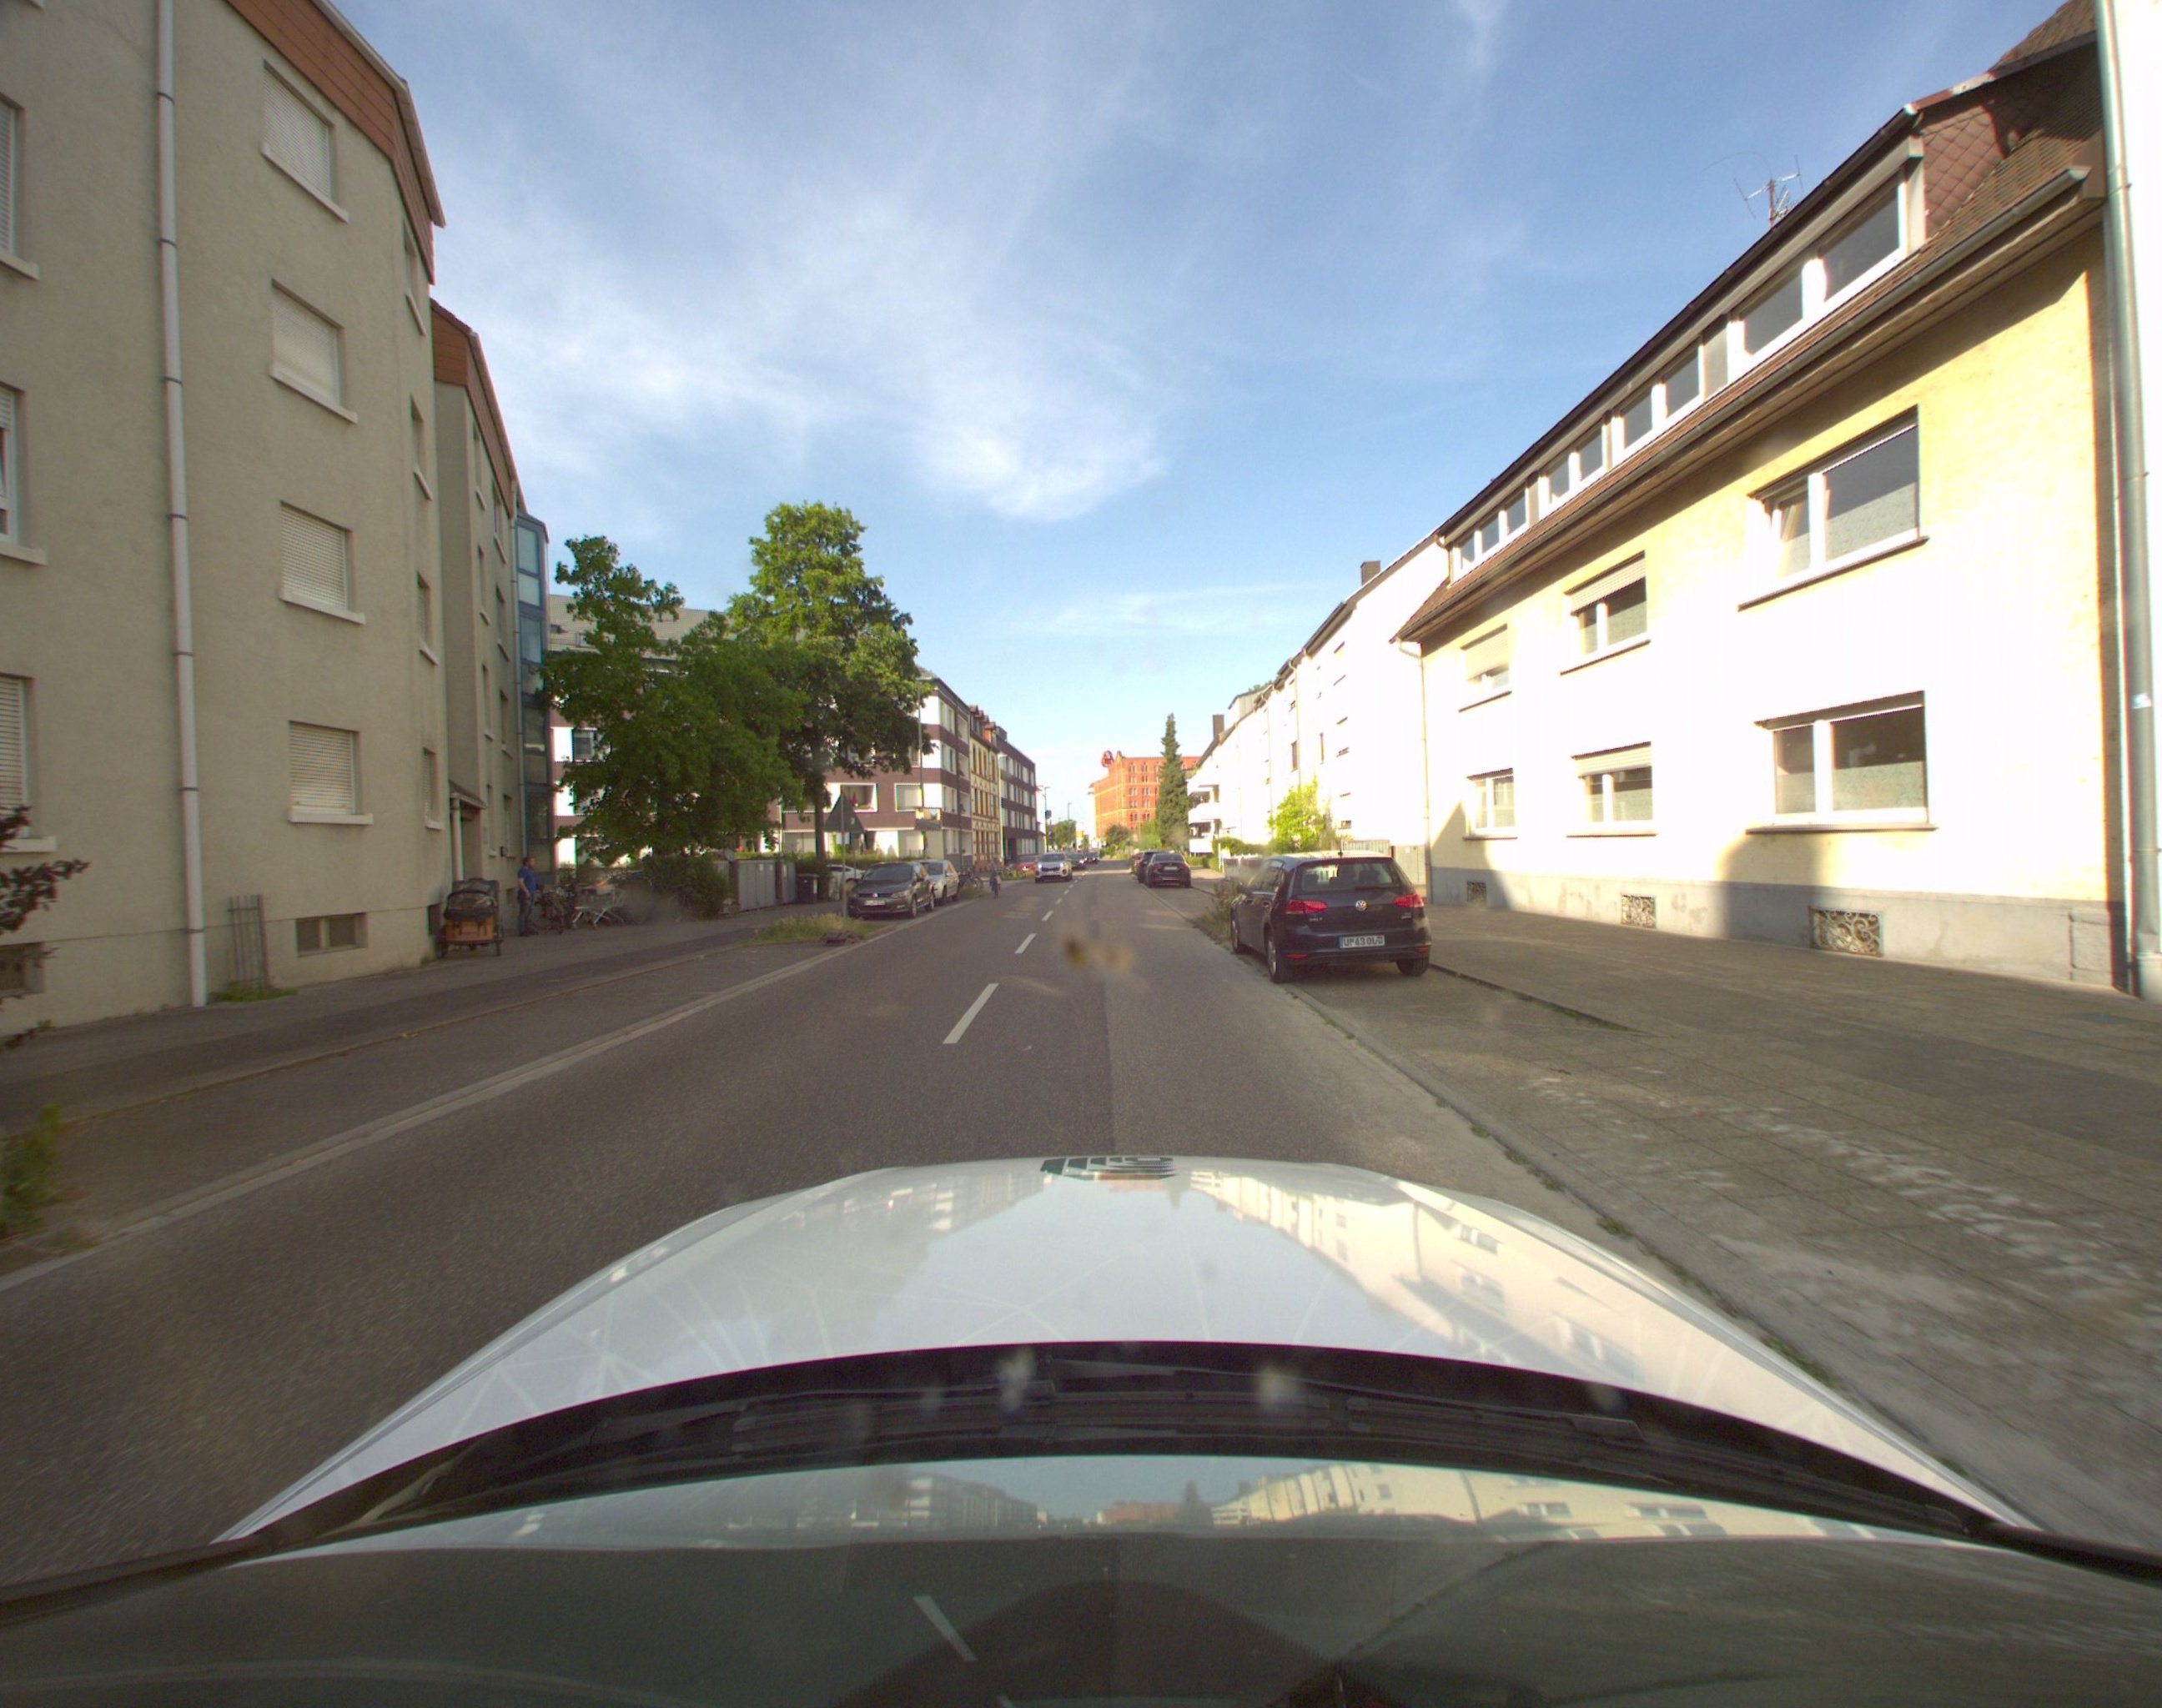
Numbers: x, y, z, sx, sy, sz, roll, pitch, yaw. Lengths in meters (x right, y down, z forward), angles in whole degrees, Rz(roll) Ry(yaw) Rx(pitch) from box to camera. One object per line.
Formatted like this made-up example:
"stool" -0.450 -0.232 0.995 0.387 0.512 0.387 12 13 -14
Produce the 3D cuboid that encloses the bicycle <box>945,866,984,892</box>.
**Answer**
"bicycle" -5.024 1.094 35.216 1.582 1.041 0.707 -2 0 -5

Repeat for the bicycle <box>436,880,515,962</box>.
"bicycle" -10.118 1.088 13.653 0.893 1.249 1.199 -2 0 -30

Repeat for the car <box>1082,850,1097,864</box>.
"car" 1.089 0.357 100.253 1.757 1.616 4.001 -3 0 1

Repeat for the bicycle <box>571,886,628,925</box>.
"bicycle" -12.035 1.275 20.412 0.460 0.851 1.681 -2 0 -2

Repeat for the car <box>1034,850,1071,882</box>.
"car" -1.538 0.625 44.917 1.757 1.616 4.001 -3 0 1

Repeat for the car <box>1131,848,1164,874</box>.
"car" 4.199 0.417 51.903 1.757 1.526 4.001 -3 0 1

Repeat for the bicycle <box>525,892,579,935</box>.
"bicycle" -11.697 1.295 17.986 1.435 0.851 0.466 0 1 34

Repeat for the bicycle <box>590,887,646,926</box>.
"bicycle" -11.531 1.284 20.338 0.460 0.851 1.681 -2 0 -2

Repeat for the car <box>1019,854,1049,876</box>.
"car" -3.404 0.786 59.956 1.833 1.464 3.586 -2 0 1

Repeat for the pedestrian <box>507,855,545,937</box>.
"pedestrian" -11.854 0.881 17.408 0.441 1.723 0.525 0 0 1

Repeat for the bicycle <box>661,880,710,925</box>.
"bicycle" -10.004 1.199 20.642 0.460 1.023 1.681 -2 0 -2

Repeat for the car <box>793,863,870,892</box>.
"car" -12.894 1.207 42.123 3.469 1.288 1.648 -2 0 -31

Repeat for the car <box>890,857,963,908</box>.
"car" -5.140 0.904 27.502 1.671 1.501 3.999 -2 0 0

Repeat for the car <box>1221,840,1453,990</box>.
"car" 3.028 0.635 10.527 1.823 1.482 3.945 -3 0 2

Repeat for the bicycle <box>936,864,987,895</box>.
"bicycle" -4.922 1.047 33.625 1.997 1.217 0.707 -2 0 -5

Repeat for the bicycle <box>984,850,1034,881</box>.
"bicycle" -4.457 0.725 50.460 2.907 1.777 1.202 -2 0 1

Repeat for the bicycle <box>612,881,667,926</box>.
"bicycle" -10.892 1.210 20.145 0.460 0.993 1.681 -2 0 -2

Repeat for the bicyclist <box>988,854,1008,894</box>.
"bicyclist" -3.104 0.723 30.368 0.588 1.442 0.751 -2 0 2

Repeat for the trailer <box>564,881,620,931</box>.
"trailer" -11.189 1.178 18.668 0.579 1.056 0.914 -2 0 17

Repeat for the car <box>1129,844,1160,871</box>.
"car" 4.438 0.262 57.307 1.986 1.772 4.002 -2 0 2

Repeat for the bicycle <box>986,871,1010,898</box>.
"bicycle" -3.092 1.120 30.328 0.606 0.942 1.812 -2 0 2

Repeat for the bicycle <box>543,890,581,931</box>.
"bicycle" -12.124 1.301 19.007 1.224 0.881 0.466 -2 0 44

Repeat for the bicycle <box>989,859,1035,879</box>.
"bicycle" -4.405 0.943 52.232 2.762 1.144 1.144 -2 0 1

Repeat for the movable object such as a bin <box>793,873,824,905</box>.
"movable object such as a bin" -9.349 1.185 27.993 0.749 1.040 0.817 1 0 1

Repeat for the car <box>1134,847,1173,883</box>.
"car" 3.535 0.514 40.158 1.596 1.646 3.685 -2 0 1

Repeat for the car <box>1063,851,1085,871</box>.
"car" -0.553 0.555 70.713 1.757 1.616 4.001 -3 0 1

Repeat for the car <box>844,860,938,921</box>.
"car" -4.991 0.904 21.903 1.568 1.420 3.804 -1 0 1

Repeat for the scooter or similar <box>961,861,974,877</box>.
"scooter or similar" -8.079 1.031 57.881 0.631 1.103 1.611 0 0 2

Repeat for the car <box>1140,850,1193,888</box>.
"car" 3.613 0.595 34.938 1.852 1.472 4.000 -3 0 1
